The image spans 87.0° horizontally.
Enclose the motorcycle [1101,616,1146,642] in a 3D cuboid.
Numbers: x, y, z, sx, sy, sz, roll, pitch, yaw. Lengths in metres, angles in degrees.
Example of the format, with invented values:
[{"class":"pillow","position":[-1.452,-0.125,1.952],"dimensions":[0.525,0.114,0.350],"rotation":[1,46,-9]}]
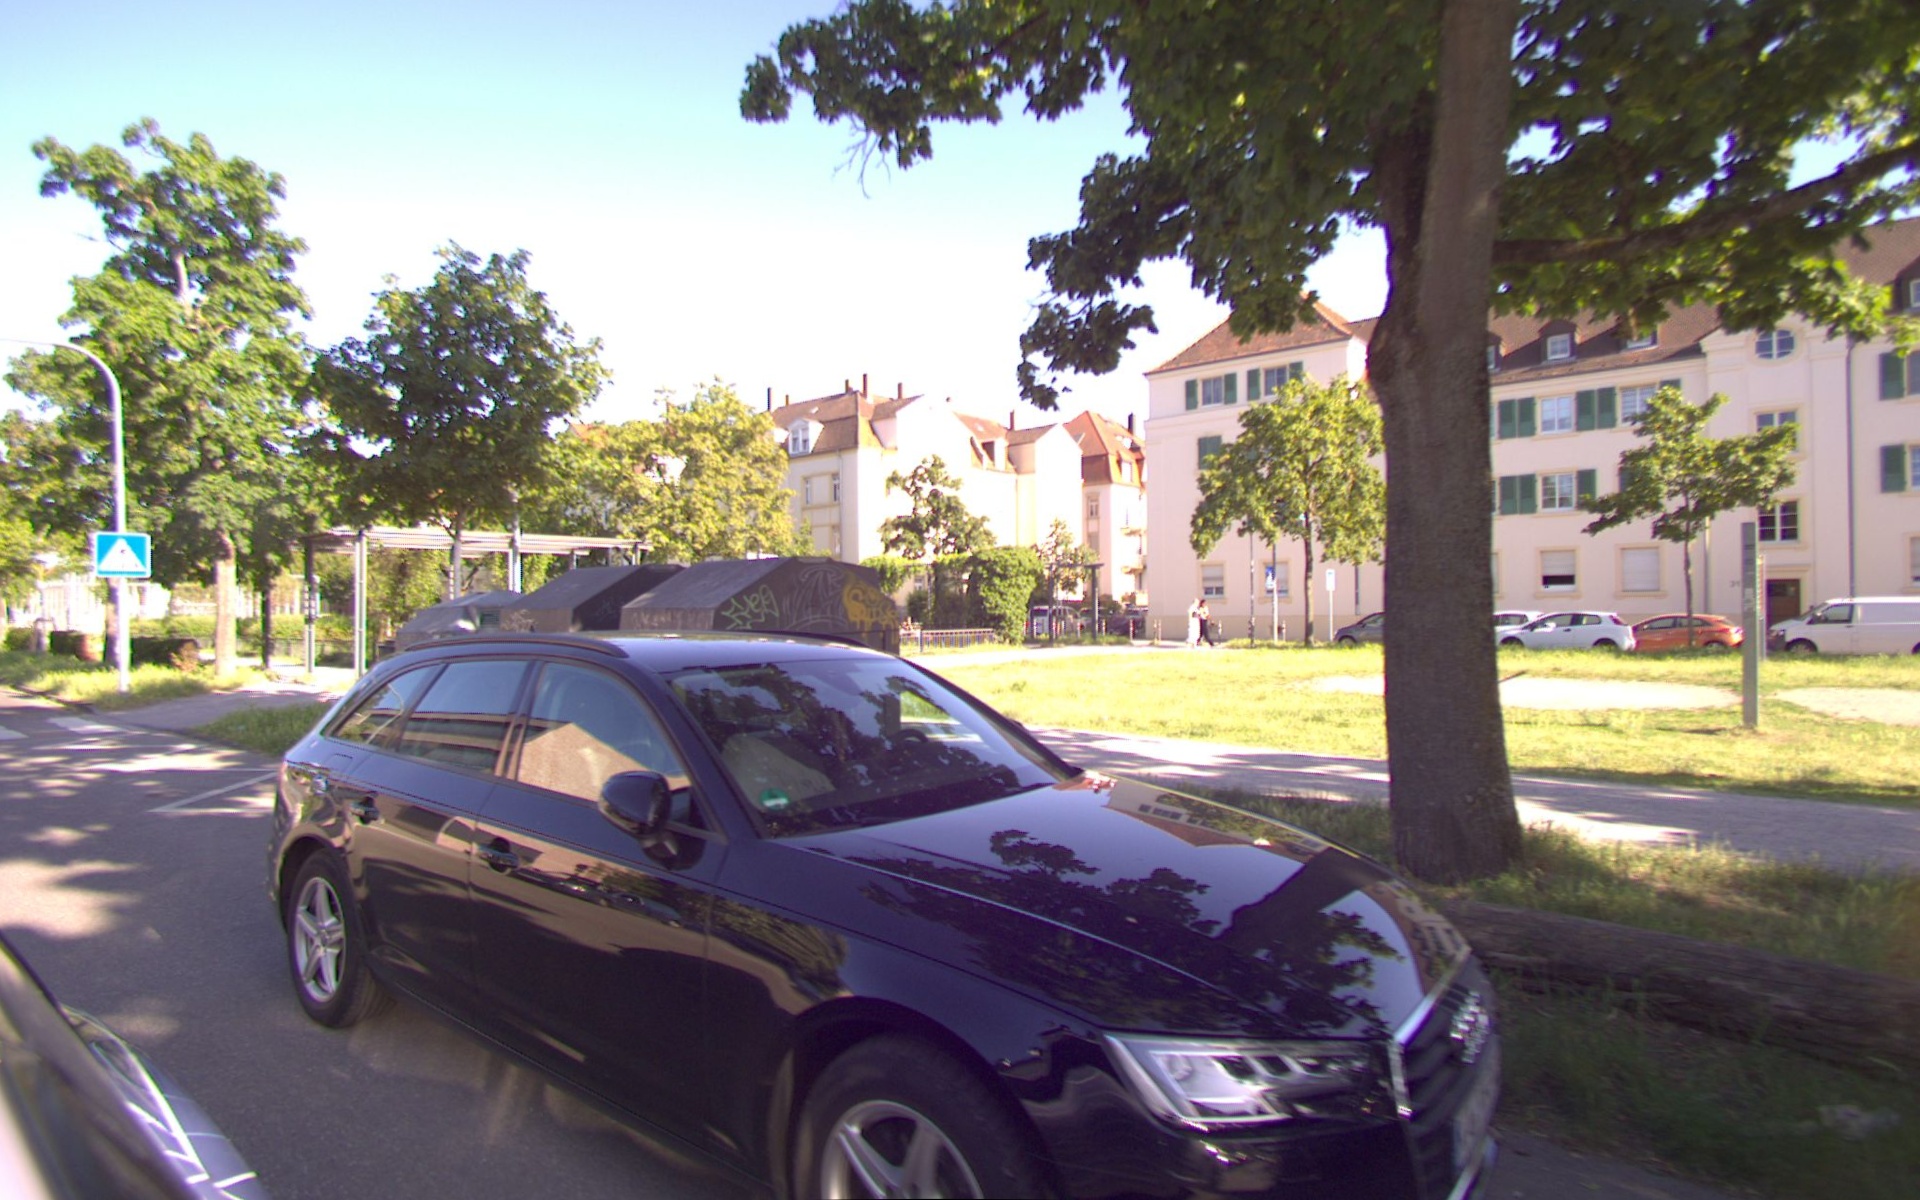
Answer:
[{"class":"motorcycle","position":[8.347,1.474,51.728],"dimensions":[2.143,1.315,0.807],"rotation":[-1,-1,39]}]

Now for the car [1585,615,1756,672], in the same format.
[{"class":"car","position":[24.064,1.428,34.384],"dimensions":[4.639,1.777,1.974],"rotation":[-1,-1,39]}]

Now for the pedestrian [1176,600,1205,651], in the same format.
[{"class":"pedestrian","position":[7.774,0.866,34.153],"dimensions":[0.750,1.698,0.537],"rotation":[-1,-1,42]}]

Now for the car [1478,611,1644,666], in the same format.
[{"class":"car","position":[18.750,1.175,31.661],"dimensions":[4.232,1.595,1.771],"rotation":[-1,-1,40]}]

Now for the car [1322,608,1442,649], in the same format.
[{"class":"car","position":[14.587,0.976,35.020],"dimensions":[3.512,1.343,1.633],"rotation":[-1,-1,40]}]

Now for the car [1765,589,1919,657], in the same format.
[{"class":"car","position":[28.078,0.682,31.041],"dimensions":[5.251,1.999,2.199],"rotation":[-1,-1,39]}]

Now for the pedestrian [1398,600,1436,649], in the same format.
[{"class":"pedestrian","position":[18.782,1.007,41.579],"dimensions":[1.161,1.978,1.328],"rotation":[-1,-1,35]}]

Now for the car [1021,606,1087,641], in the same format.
[{"class":"car","position":[5.569,1.370,59.638],"dimensions":[2.042,1.970,3.763],"rotation":[-1,-1,42]}]

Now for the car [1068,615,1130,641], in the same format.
[{"class":"car","position":[8.662,1.734,63.011],"dimensions":[2.042,1.530,3.763],"rotation":[-1,-1,42]}]

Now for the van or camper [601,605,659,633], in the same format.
[{"class":"van or camper","position":[-24.848,1.387,76.215],"dimensions":[4.372,2.029,2.244],"rotation":[0,0,41]}]

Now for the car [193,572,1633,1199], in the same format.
[{"class":"car","position":[-0.762,0.737,3.456],"dimensions":[4.962,1.463,1.817],"rotation":[-1,-1,39]}]

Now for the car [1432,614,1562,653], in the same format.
[{"class":"car","position":[20.030,1.222,37.817],"dimensions":[3.997,1.366,1.751],"rotation":[-1,-1,40]}]

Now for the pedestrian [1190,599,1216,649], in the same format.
[{"class":"pedestrian","position":[8.298,0.821,34.606],"dimensions":[0.537,1.698,0.674],"rotation":[0,-1,-45]}]
